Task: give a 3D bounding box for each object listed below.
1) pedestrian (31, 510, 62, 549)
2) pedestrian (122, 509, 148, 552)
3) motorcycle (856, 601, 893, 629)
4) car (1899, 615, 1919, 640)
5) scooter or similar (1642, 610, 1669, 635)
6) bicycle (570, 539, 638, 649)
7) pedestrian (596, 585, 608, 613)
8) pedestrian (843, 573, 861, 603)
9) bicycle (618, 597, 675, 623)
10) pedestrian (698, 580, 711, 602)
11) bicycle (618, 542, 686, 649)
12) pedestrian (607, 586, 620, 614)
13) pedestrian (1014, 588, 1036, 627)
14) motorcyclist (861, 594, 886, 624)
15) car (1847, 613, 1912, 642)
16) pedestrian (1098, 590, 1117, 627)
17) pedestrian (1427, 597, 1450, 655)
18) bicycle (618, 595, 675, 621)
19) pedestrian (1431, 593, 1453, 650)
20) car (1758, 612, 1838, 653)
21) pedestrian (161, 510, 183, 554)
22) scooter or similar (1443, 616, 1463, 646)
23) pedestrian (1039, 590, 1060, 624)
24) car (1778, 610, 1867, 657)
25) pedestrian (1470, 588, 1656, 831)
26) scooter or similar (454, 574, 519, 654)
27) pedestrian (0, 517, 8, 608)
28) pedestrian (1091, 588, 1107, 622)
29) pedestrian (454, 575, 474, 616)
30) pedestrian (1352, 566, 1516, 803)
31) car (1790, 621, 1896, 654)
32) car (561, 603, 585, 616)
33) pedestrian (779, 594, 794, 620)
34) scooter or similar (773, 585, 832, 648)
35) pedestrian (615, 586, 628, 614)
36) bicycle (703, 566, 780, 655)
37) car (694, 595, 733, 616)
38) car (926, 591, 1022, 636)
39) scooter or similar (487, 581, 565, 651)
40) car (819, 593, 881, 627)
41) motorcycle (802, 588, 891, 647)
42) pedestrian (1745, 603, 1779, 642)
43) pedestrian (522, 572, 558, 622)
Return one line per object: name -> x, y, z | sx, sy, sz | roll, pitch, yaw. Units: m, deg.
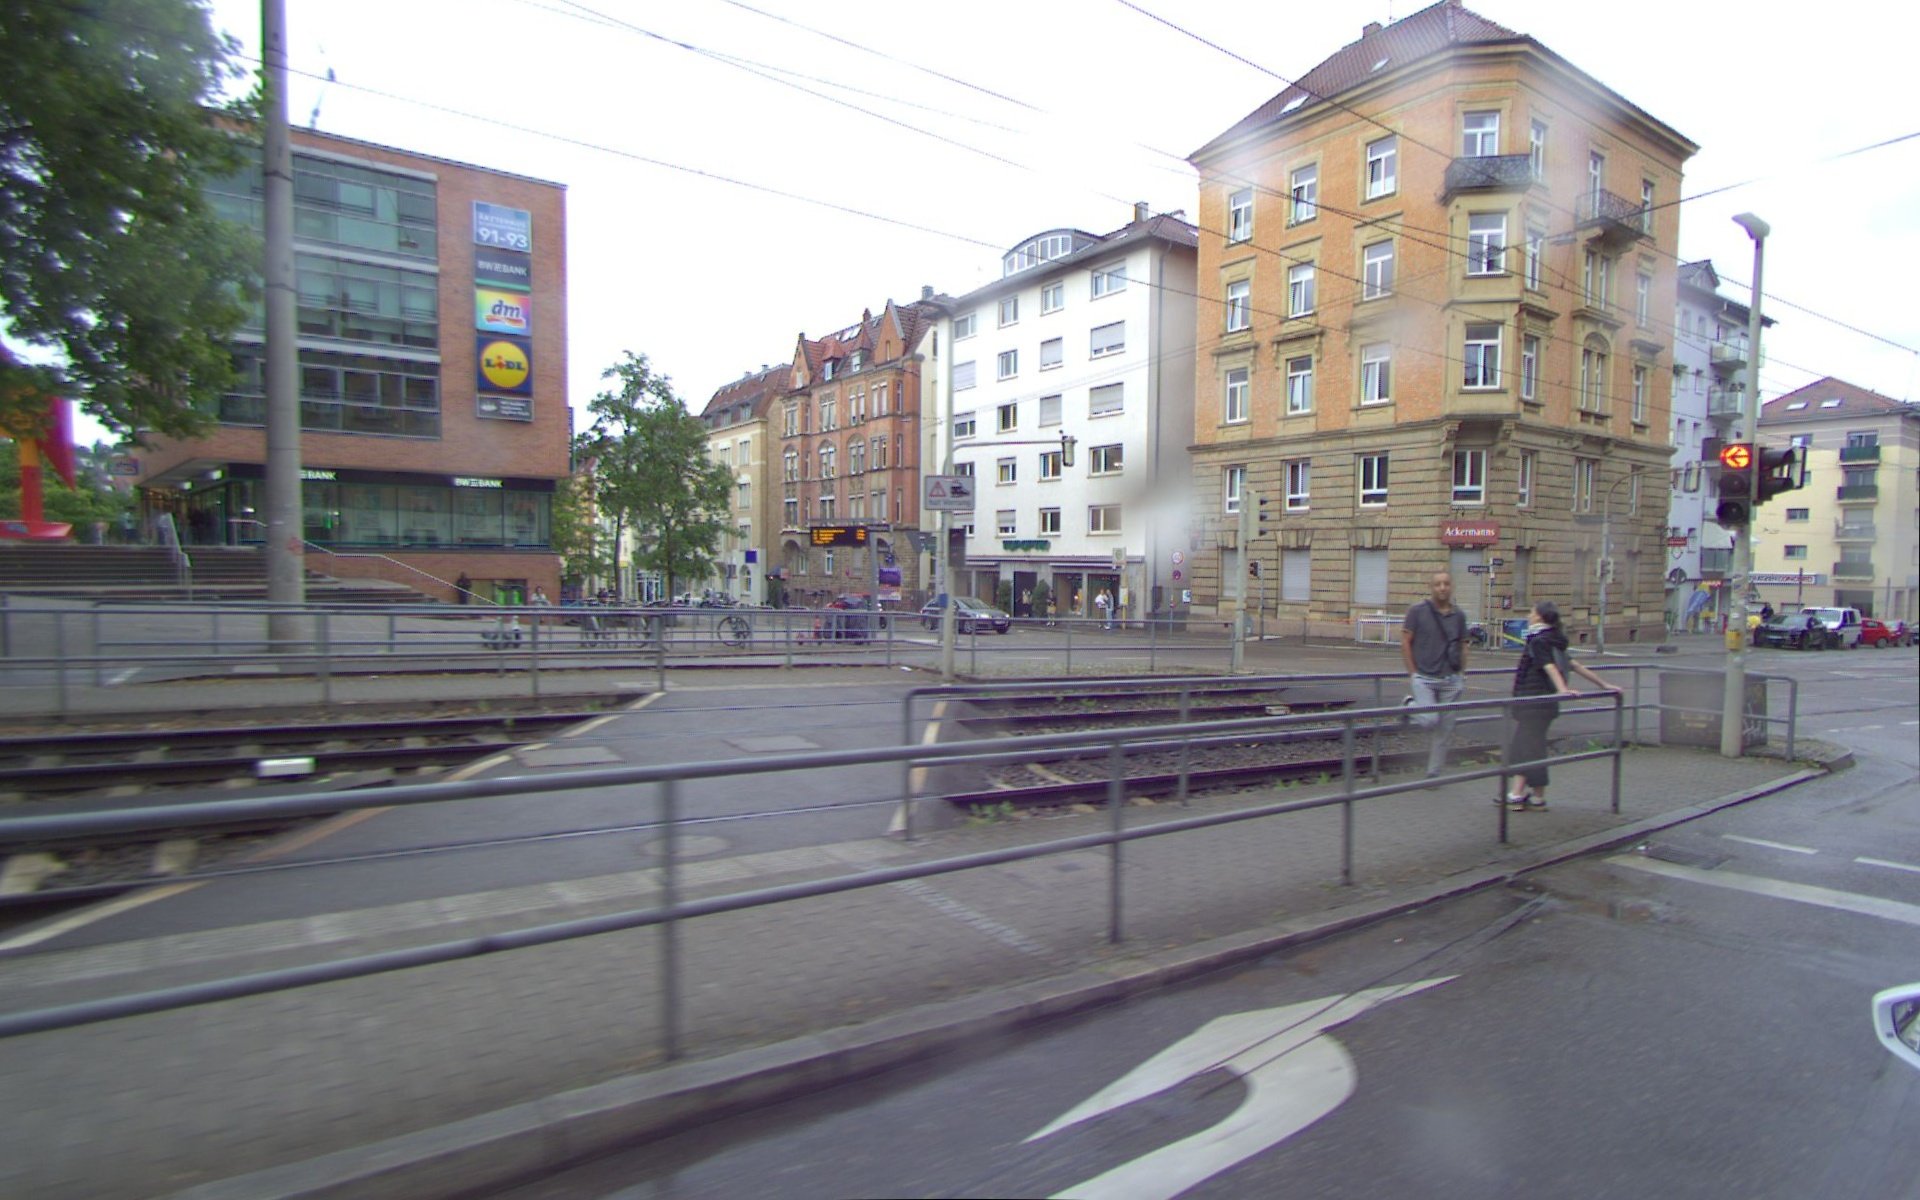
pedestrian -> -38.228, -2.953, 42.040 | 0.702, 1.571, 0.626 | 2, 1, 1
pedestrian -> -34.722, -2.931, 42.281 | 0.639, 1.753, 0.724 | 3, 1, 42
motorcycle -> -3.876, 0.659, 45.582 | 0.857, 1.174, 1.834 | 1, 1, -34
car -> 58.294, 1.688, 60.565 | 4.580, 1.414, 1.667 | 2, 1, -37
scooter or similar -> 34.884, 1.145, 50.388 | 1.078, 1.225, 0.315 | -2, -2, 44
bicycle -> -6.916, -0.143, 19.460 | 0.515, 2.041, 1.873 | 1, 2, -41
pedestrian -> -21.911, -0.067, 61.450 | 0.567, 1.651, 0.482 | 1, 2, -35
pedestrian -> -6.906, -0.767, 64.125 | 0.806, 1.861, 0.762 | 1, 2, -36
bicycle -> -14.010, 0.444, 44.916 | 2.351, 1.116, 0.691 | 1, 2, -43
pedestrian -> -22.420, -0.796, 88.145 | 0.806, 1.861, 0.762 | 1, 2, -36
bicycle -> -6.198, -0.123, 20.146 | 0.515, 2.041, 1.873 | 1, 2, -41
pedestrian -> -20.823, -0.007, 60.369 | 0.569, 1.651, 0.567 | 1, 2, -36
pedestrian -> 3.439, 0.411, 53.210 | 0.759, 2.040, 0.859 | 1, 1, -31
motorcyclist -> -3.947, 0.398, 45.691 | 0.833, 1.320, 0.807 | 1, 1, -34
car -> 50.436, 1.525, 55.059 | 4.030, 1.471, 1.644 | 2, 1, -33
pedestrian -> 6.833, 0.372, 46.591 | 0.588, 1.690, 0.598 | 1, 1, -25
pedestrian -> 15.640, 0.834, 32.838 | 0.615, 1.864, 0.640 | 1, 0, 22
bicycle -> -14.313, 0.392, 45.931 | 2.342, 1.116, 0.845 | 1, 1, -33
pedestrian -> 15.665, 0.694, 32.654 | 0.616, 1.791, 0.639 | 0, 3, 24
car -> 37.617, 1.461, 45.065 | 4.322, 1.673, 1.720 | 1, 1, -37
pedestrian -> -32.679, -2.799, 41.651 | 0.643, 1.753, 0.611 | 1, 1, -43
scooter or similar -> 16.347, 1.016, 33.305 | 0.545, 0.957, 0.577 | 2, 1, 24
pedestrian -> 4.461, 0.348, 50.162 | 0.660, 1.692, 0.825 | 1, 1, -32
car -> 42.215, 1.605, 49.134 | 5.250, 2.036, 2.055 | 1, 4, -36
pedestrian -> 4.430, 0.744, 7.384 | 0.992, 1.626, 0.828 | 1, 1, -37
scooter or similar -> -8.689, 0.240, 18.403 | 1.483, 1.389, 0.451 | 3, 2, 38
pedestrian -> -19.221, -0.779, 19.251 | 1.049, 1.767, 0.793 | 6, 1, -2
pedestrian -> 6.565, 0.246, 47.459 | 0.492, 1.557, 0.527 | 1, 2, -31
pedestrian -> -19.461, -0.167, 39.392 | 0.586, 1.587, 0.514 | 1, 2, -37
pedestrian -> 3.944, 0.652, 8.360 | 0.992, 1.823, 0.819 | 1, 1, -37
car -> 45.822, 1.934, 52.179 | 3.904, 1.453, 1.785 | 2, 1, -2
car -> -45.833, 1.098, 118.831 | 1.621, 1.310, 3.978 | 1, 1, -36
pedestrian -> -12.986, 0.517, 75.196 | 0.806, 1.861, 0.762 | 1, 1, -36
scooter or similar -> -3.714, 0.364, 23.581 | 1.483, 1.389, 0.451 | 3, 2, 38
pedestrian -> -20.567, -0.010, 61.037 | 0.593, 1.651, 0.567 | 1, 2, -36
bicycle -> -4.671, 0.199, 21.345 | 0.553, 1.720, 2.071 | 3, 2, -41
car -> -18.358, 0.405, 74.838 | 1.619, 1.310, 3.963 | 1, 2, -33
car -> 0.502, 0.524, 40.055 | 1.824, 1.688, 3.959 | 1, 0, -36
scooter or similar -> -8.113, 0.283, 18.749 | 1.690, 1.210, 0.477 | 2, 1, 34
car -> -6.055, 0.530, 54.934 | 1.621, 1.603, 3.958 | 1, 3, -36
motorcycle -> -2.914, 0.417, 25.546 | 0.860, 1.389, 2.626 | 2, 0, -41
pedestrian -> 41.418, 1.135, 51.872 | 1.169, 1.955, 1.160 | 1, 2, -43
pedestrian -> -15.034, -0.105, 35.921 | 0.999, 1.753, 0.890 | 1, 1, -36
